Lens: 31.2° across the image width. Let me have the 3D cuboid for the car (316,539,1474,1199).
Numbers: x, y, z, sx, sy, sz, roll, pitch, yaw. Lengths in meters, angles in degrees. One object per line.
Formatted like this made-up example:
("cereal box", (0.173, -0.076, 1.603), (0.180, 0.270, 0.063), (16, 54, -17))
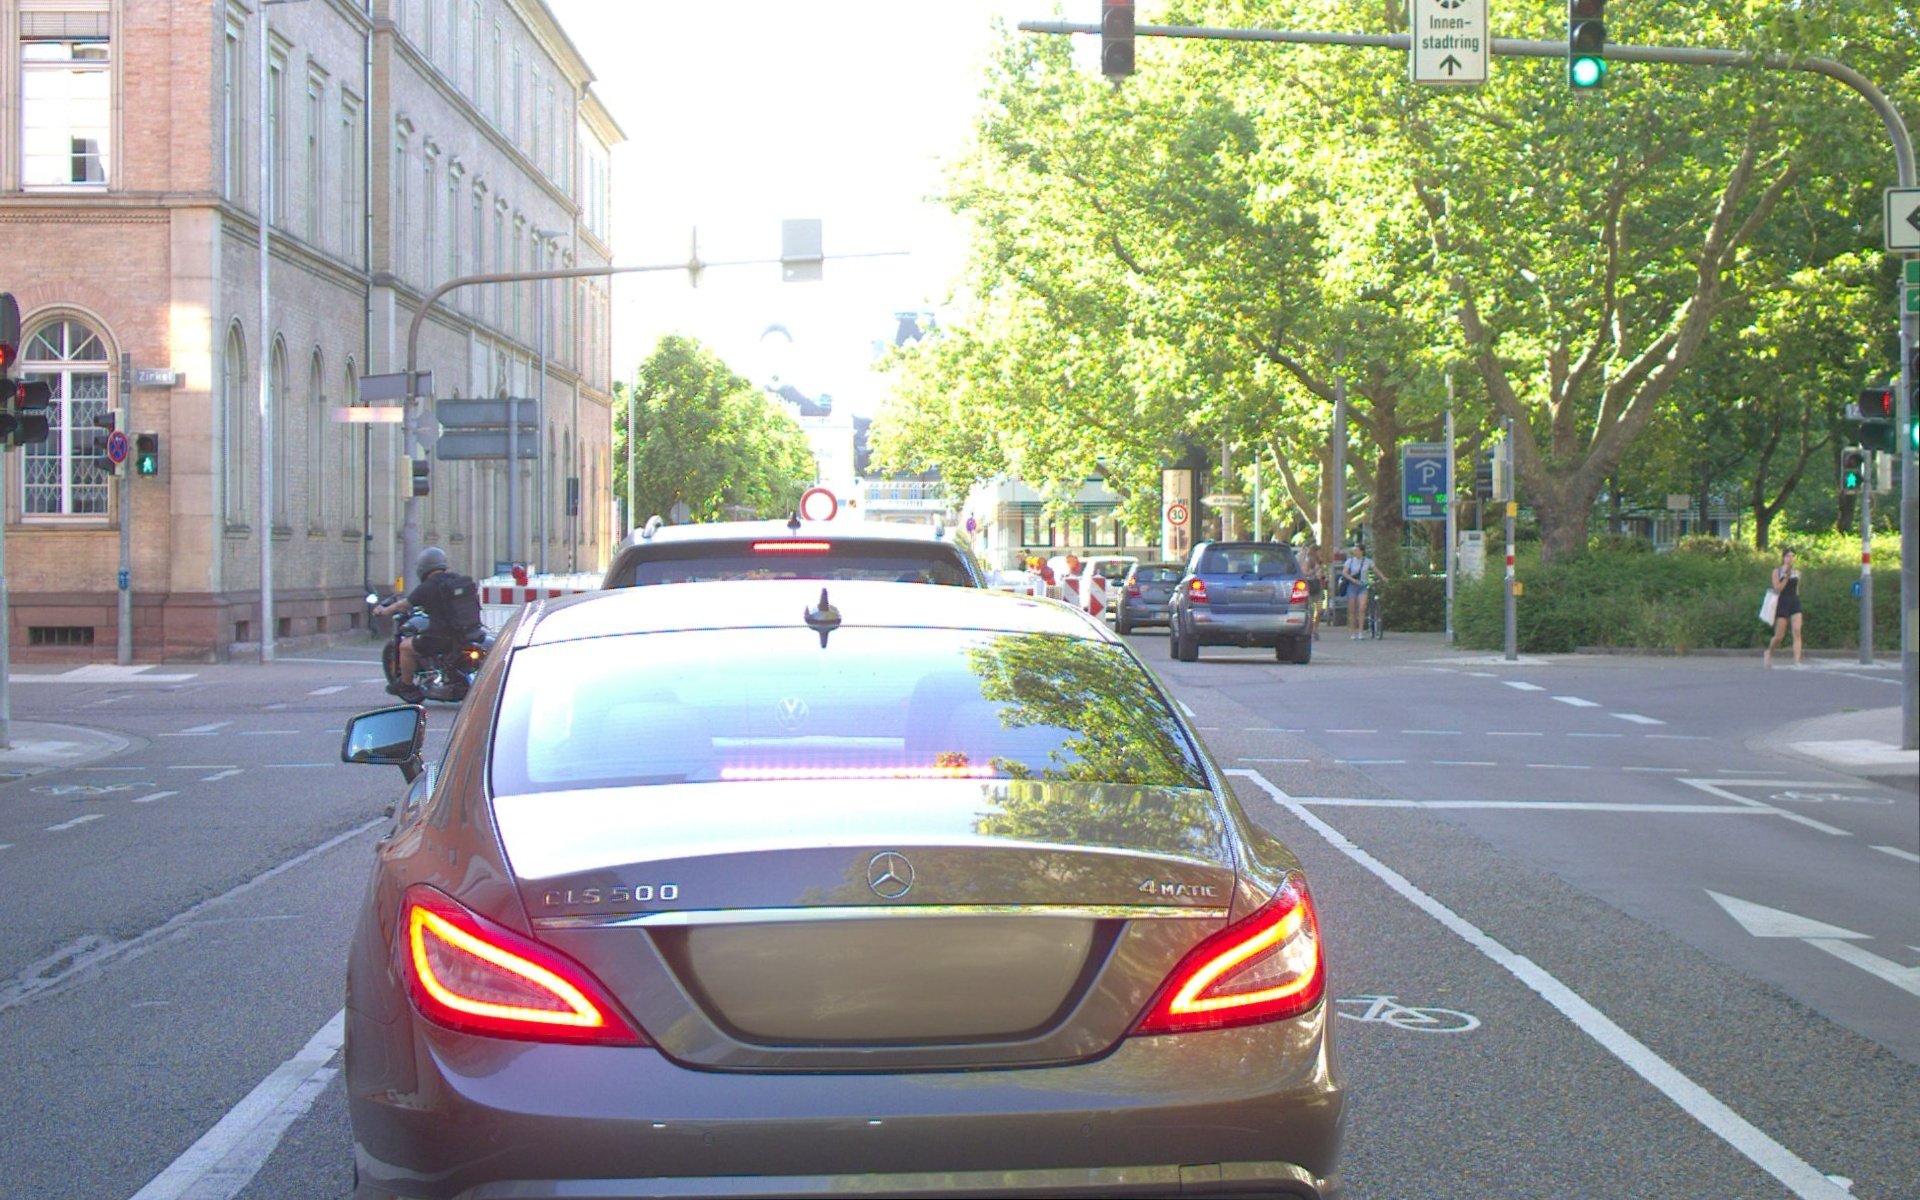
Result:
("car", (-0.360, 0.632, 7.497), (1.861, 1.514, 4.001), (0, 1, -8))

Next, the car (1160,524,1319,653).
("car", (3.979, -0.194, 49.540), (1.861, 1.758, 4.482), (0, 1, -1))

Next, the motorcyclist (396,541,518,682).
("motorcyclist", (-4.688, 0.101, 32.078), (0.801, 1.290, 0.788), (1, 0, 28))

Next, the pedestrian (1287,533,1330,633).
("pedestrian", (6.335, -0.311, 62.532), (0.635, 1.791, 0.699), (1, 0, -4))

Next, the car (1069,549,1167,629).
("car", (3.123, -0.240, 68.580), (1.704, 1.514, 4.000), (0, 1, -1))

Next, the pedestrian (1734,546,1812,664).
("pedestrian", (10.766, 0.059, 45.567), (0.635, 1.540, 0.910), (1, 0, -14))

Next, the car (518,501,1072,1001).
("car", (-0.580, 0.477, 13.628), (1.861, 1.677, 4.000), (0, 1, -1))

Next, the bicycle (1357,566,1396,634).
("bicycle", (7.569, -0.007, 62.520), (0.482, 1.198, 1.606), (1, 0, -1))

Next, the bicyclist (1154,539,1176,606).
("bicyclist", (6.260, -0.845, 105.015), (0.594, 2.032, 0.566), (1, 0, -4))

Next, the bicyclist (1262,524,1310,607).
("bicyclist", (6.418, -0.683, 67.680), (0.825, 1.612, 0.957), (1, 0, -1))

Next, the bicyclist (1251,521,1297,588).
("bicyclist", (6.503, -0.941, 71.190), (0.734, 1.393, 0.697), (1, 0, 28))

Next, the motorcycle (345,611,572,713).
("motorcycle", (-4.686, 0.566, 32.079), (2.056, 0.889, 0.754), (1, 1, 29))

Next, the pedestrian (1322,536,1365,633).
("pedestrian", (6.970, -0.287, 62.569), (0.635, 1.754, 0.699), (1, 0, -4))
